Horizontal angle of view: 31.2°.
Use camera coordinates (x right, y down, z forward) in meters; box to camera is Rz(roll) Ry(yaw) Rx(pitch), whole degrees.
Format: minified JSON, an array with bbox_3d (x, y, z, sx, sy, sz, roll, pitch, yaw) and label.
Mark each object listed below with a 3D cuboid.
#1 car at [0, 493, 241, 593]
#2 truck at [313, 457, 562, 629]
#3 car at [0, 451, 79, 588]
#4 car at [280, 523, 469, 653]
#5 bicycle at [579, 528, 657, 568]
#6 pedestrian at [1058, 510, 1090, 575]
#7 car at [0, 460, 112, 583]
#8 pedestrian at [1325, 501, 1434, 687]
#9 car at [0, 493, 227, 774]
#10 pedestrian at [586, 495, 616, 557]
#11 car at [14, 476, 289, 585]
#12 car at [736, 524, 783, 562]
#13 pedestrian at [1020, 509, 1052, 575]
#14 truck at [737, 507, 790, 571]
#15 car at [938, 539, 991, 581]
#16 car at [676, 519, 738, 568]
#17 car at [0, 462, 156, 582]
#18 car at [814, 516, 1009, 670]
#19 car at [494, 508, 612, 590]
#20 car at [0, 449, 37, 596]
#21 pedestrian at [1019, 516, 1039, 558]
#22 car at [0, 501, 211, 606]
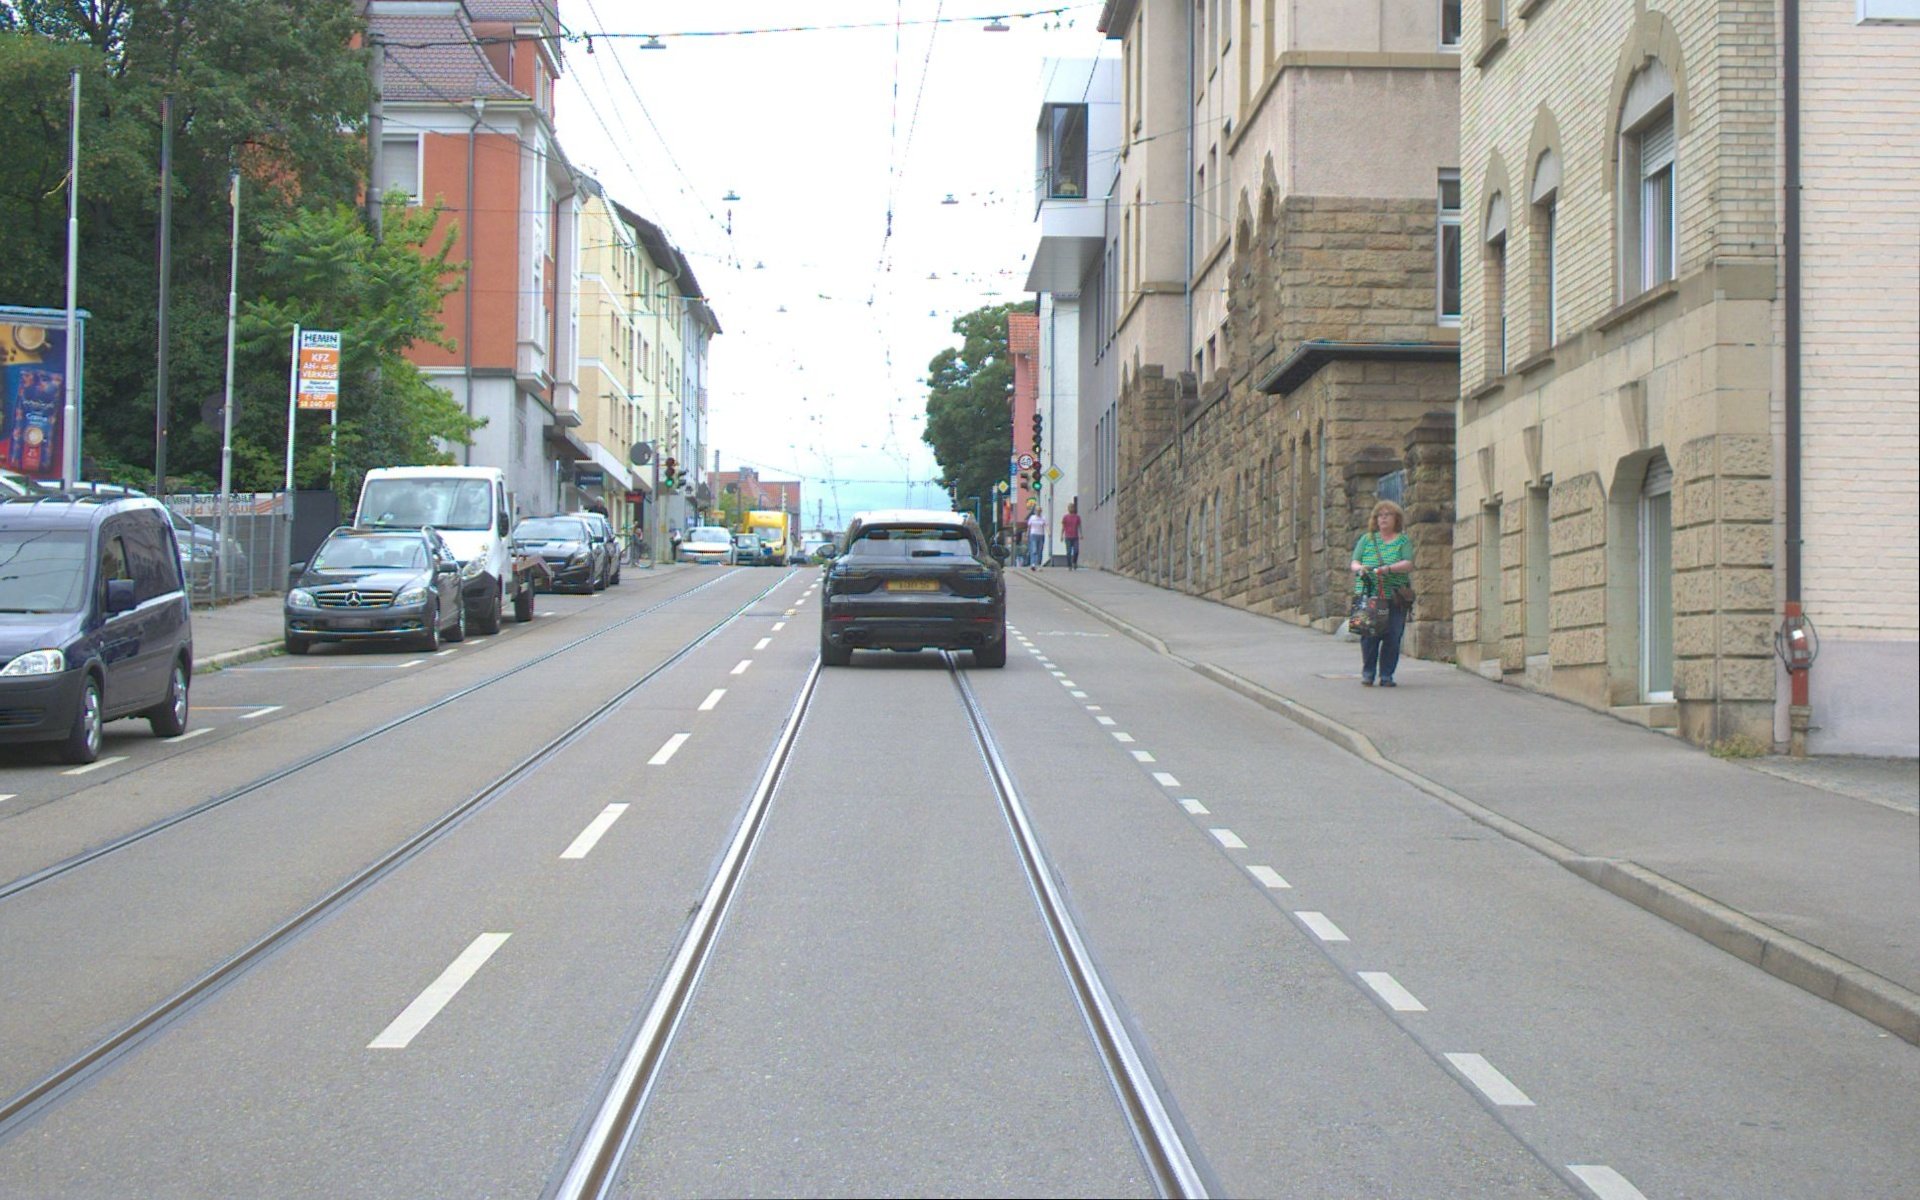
[{"bbox_3d":[-12.380,-0.831,49.134,3.875,1.352,1.688,1,1,-1],"label":"car"},{"bbox_3d":[-7.196,-0.838,48.307,2.280,2.180,8.025,1,1,0],"label":"truck"},{"bbox_3d":[-12.288,-0.950,39.168,4.060,1.518,1.739,1,1,-1],"label":"car"},{"bbox_3d":[-7.015,-0.184,41.552,1.696,1.428,4.482,-1,2,-3],"label":"car"},{"bbox_3d":[-8.657,-1.321,87.092,1.911,0.996,0.479,1,1,0],"label":"bicycle"},{"bbox_3d":[2.918,-1.470,87.827,0.791,1.661,0.799,1,1,1],"label":"pedestrian"},{"bbox_3d":[-12.499,-0.982,41.595,4.060,1.440,1.688,1,1,-1],"label":"car"},{"bbox_3d":[3.863,-0.066,31.671,0.870,1.680,0.663,-1,1,-3],"label":"pedestrian"},{"bbox_3d":[-6.404,0.162,23.530,1.744,1.730,4.519,-1,1,0],"label":"car"},{"bbox_3d":[-10.437,-2.156,99.980,0.775,1.770,0.650,1,1,0],"label":"pedestrian"},{"bbox_3d":[-12.185,-1.048,51.764,3.958,1.546,1.689,1,1,-15],"label":"car"},{"bbox_3d":[-8.694,-2.480,149.343,1.855,1.601,4.298,1,1,-1],"label":"car"},{"bbox_3d":[1.948,-1.477,87.823,0.791,1.661,0.799,1,1,1],"label":"pedestrian"},{"bbox_3d":[-9.656,-3.011,169.550,2.302,3.026,9.035,1,1,-1],"label":"truck"},{"bbox_3d":[0.162,-1.590,135.166,1.993,1.557,4.290,1,1,-1],"label":"car"},{"bbox_3d":[-8.586,-1.932,116.828,1.855,1.601,4.298,1,1,-1],"label":"car"},{"bbox_3d":[-12.517,-1.022,44.039,4.060,1.489,1.688,1,1,-1],"label":"car"},{"bbox_3d":[-0.525,-0.124,37.659,1.993,1.557,4.290,1,1,-1],"label":"car"},{"bbox_3d":[-7.485,-0.968,63.531,1.712,1.441,4.290,1,1,-1],"label":"car"},{"bbox_3d":[-12.123,-0.911,36.695,4.060,1.547,1.688,2,1,-2],"label":"car"},{"bbox_3d":[2.786,-2.546,138.182,0.791,1.661,0.799,1,1,1],"label":"pedestrian"},{"bbox_3d":[-12.230,-0.648,46.417,3.875,1.352,1.688,1,1,-1],"label":"car"}]
